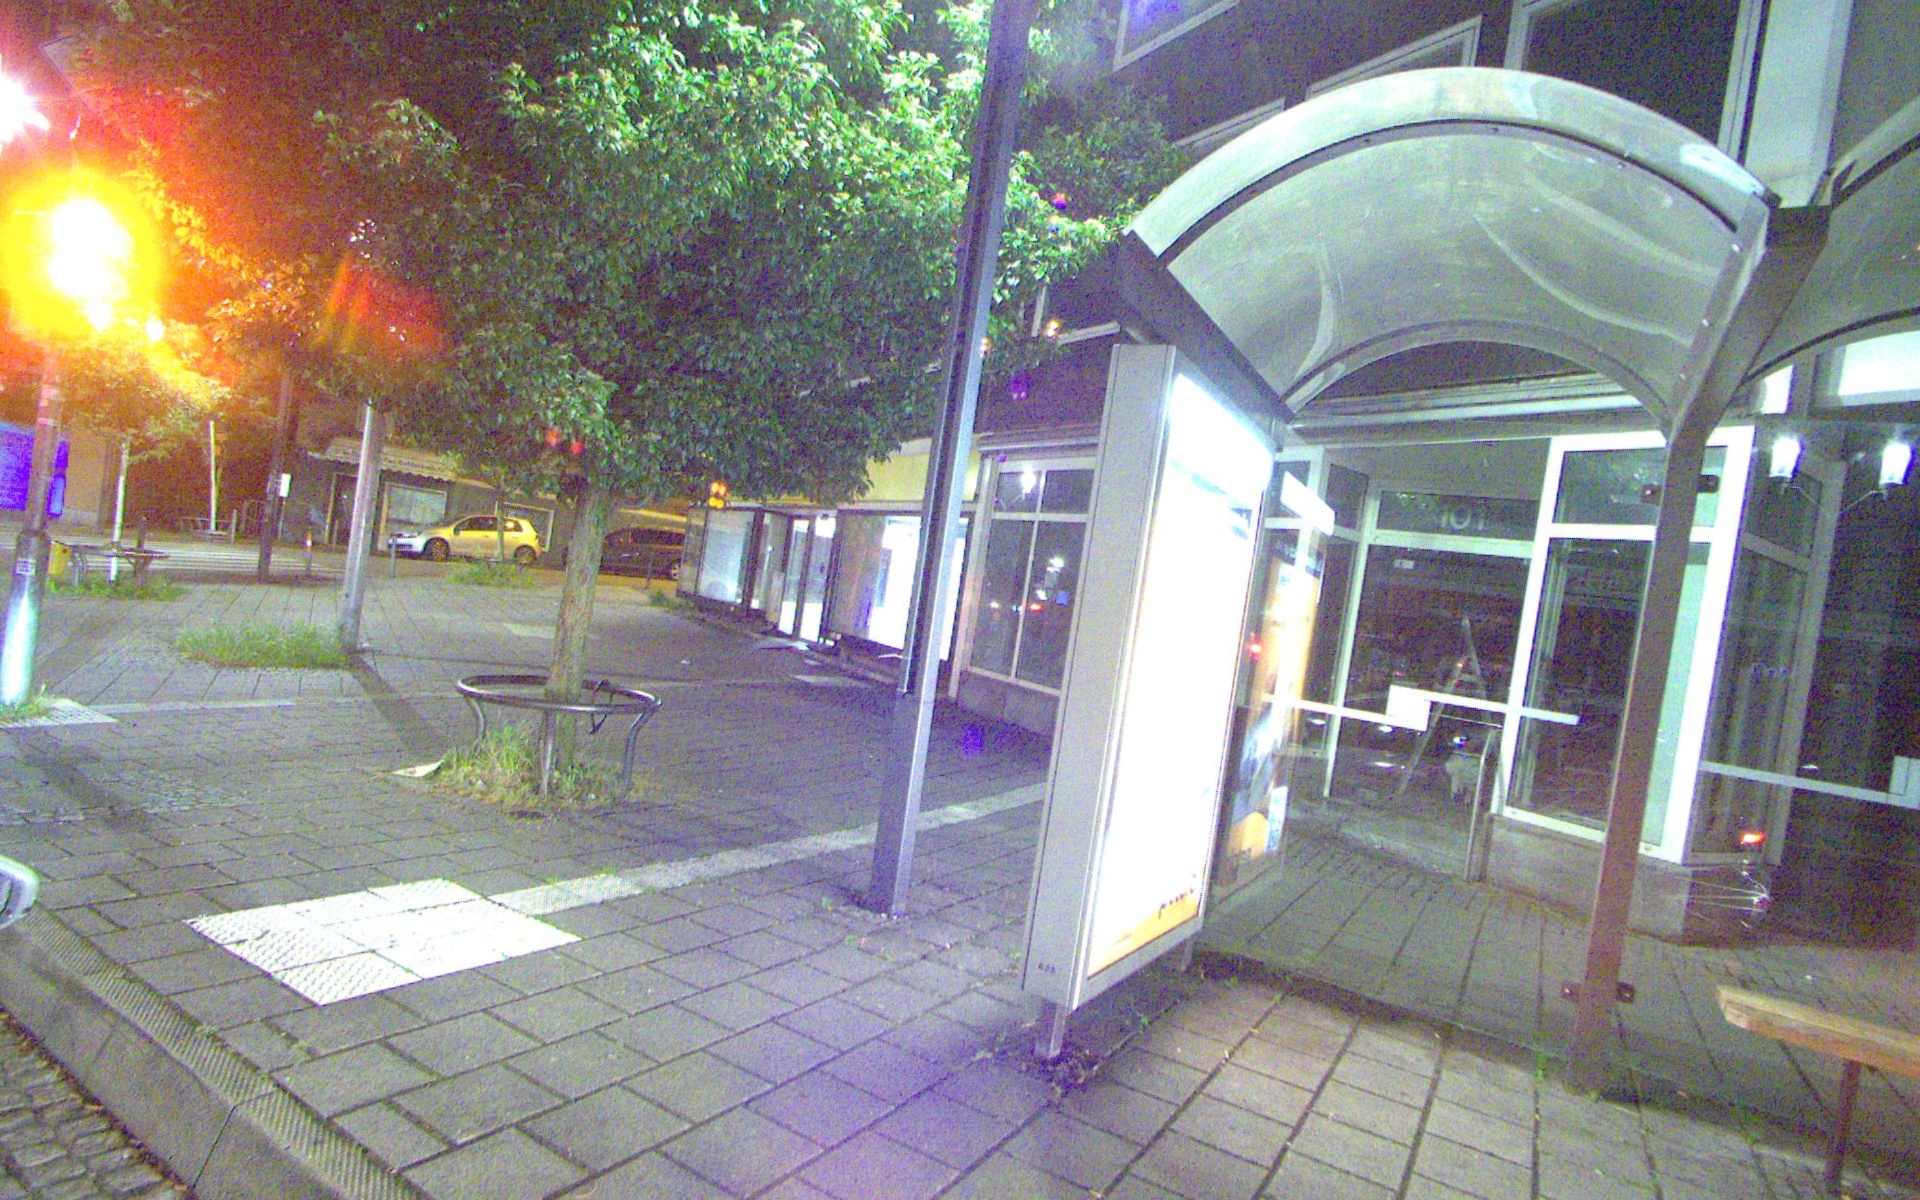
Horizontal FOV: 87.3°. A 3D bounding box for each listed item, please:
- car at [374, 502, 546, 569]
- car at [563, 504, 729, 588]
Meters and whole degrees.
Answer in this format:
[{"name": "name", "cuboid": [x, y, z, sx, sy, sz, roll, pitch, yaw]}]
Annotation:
[{"name": "car", "cuboid": [-14.470, -1.843, 29.289, 1.798, 1.472, 4.036, 8, 2, 38]}, {"name": "car", "cuboid": [-10.140, -1.677, 32.477, 4.783, 1.932, 2.148, 8, -2, -23]}]
